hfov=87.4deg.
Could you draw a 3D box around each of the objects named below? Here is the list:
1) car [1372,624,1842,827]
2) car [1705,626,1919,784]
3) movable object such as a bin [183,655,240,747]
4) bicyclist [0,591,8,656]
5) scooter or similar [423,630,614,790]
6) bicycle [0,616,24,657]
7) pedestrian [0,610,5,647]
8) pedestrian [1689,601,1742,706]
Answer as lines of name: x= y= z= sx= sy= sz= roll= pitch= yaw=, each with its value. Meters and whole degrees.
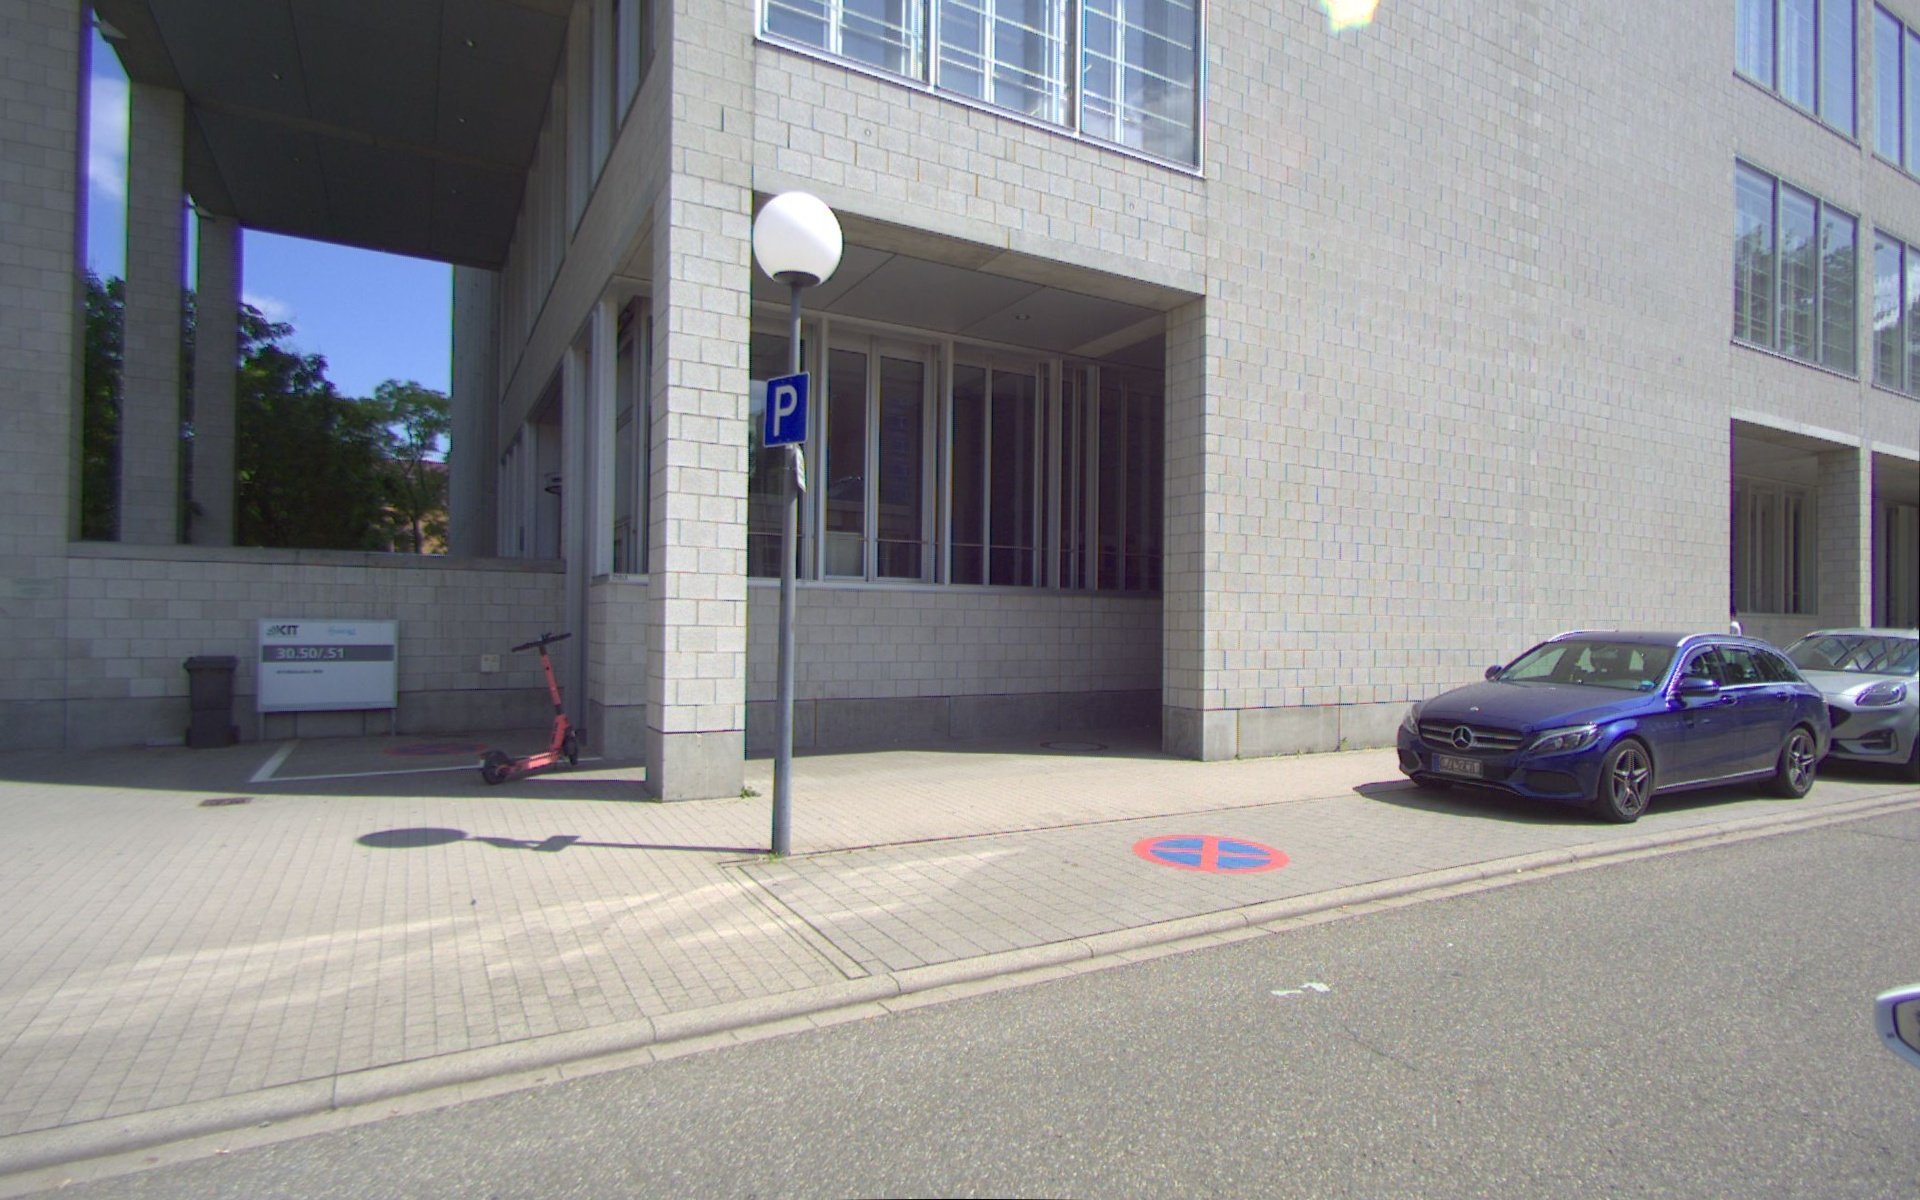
car: x=5.887 y=0.992 z=9.062 sx=4.181 sy=1.446 sz=1.759 roll=2 pitch=-1 yaw=-28
car: x=10.483 y=1.094 z=11.467 sx=4.127 sy=1.504 sz=1.624 roll=2 pitch=-1 yaw=-29
movable object such as a bin: x=-7.652 y=1.022 z=10.278 sx=0.444 sy=0.907 sz=0.167 roll=1 pitch=-1 yaw=-35
bicyclist: x=-30.216 y=0.725 z=31.043 sx=0.864 sy=2.040 sz=0.844 roll=1 pitch=0 yaw=-24
scooter or similar: x=-3.760 y=0.887 z=8.685 sx=0.516 sy=1.226 sz=1.557 roll=1 pitch=-1 yaw=23
bicycle: x=-30.258 y=1.140 z=31.224 sx=0.873 sy=1.215 sz=2.732 roll=1 pitch=-1 yaw=-25
pedestrian: x=-36.891 y=1.087 z=38.258 sx=0.536 sy=1.421 sz=0.483 roll=1 pitch=0 yaw=-8
pedestrian: x=13.626 y=0.966 z=18.121 sx=0.726 sy=1.865 sz=0.509 roll=3 pitch=-2 yaw=-30
